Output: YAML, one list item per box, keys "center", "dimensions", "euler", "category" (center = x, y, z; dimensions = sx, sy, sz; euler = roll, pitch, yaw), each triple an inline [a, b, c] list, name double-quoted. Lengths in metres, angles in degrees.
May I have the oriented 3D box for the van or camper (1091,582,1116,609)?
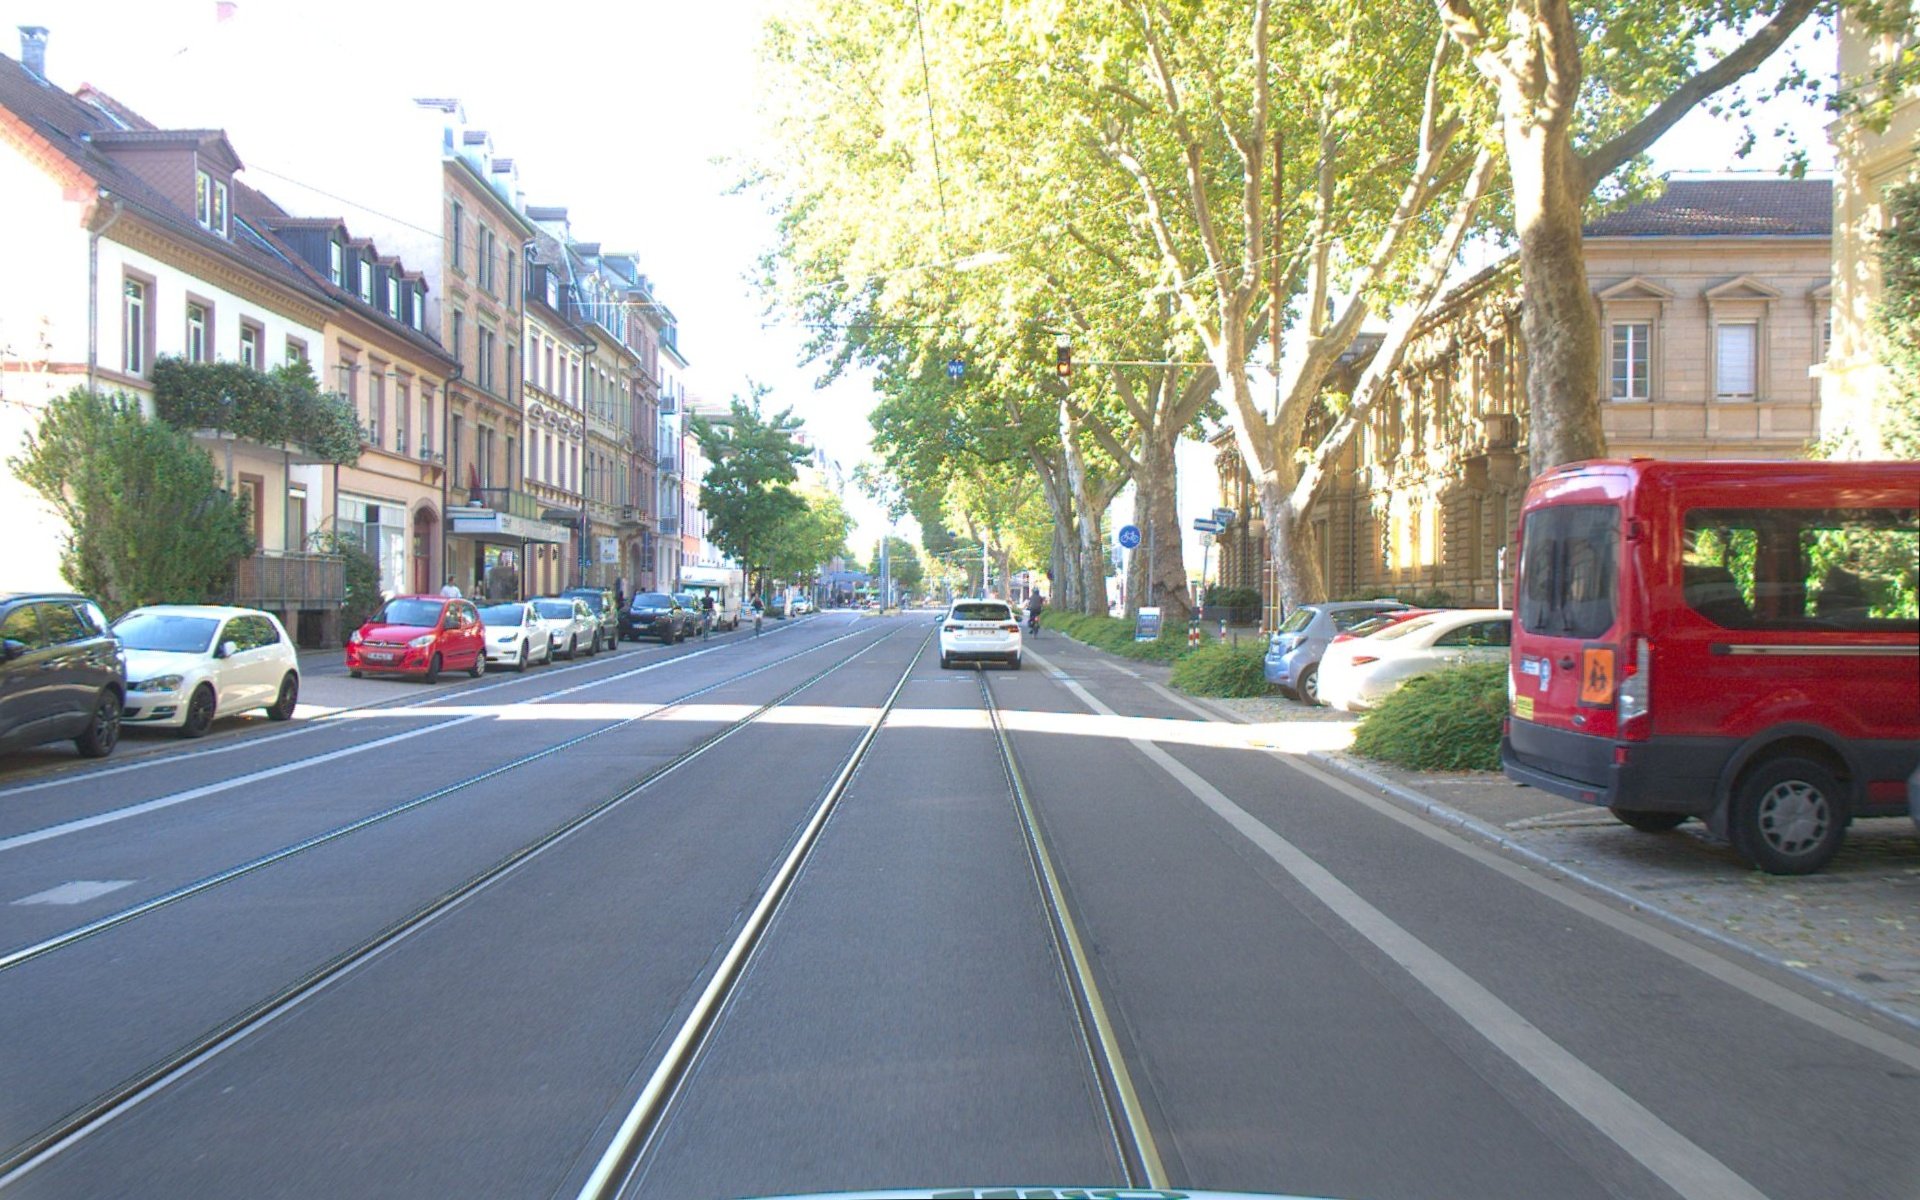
- center: [13.592, -0.418, 156.859]
  dimensions: [1.953, 2.384, 3.999]
  euler: [1, 0, -1]
  category: "van or camper"

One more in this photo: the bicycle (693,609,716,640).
- center: [-9.164, 0.866, 59.411]
  dimensions: [0.474, 1.065, 2.039]
  euler: [-2, 0, 1]
  category: "bicycle"

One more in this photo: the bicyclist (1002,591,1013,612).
- center: [3.725, 0.095, 129.646]
  dimensions: [0.720, 1.617, 0.587]
  euler: [0, 0, 11]
  category: "bicyclist"

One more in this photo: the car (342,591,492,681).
- center: [-10.114, 0.634, 31.039]
  dimensions: [1.536, 1.590, 3.450]
  euler: [0, 0, 3]
  category: "car"

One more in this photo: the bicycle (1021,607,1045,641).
- center: [2.644, 0.872, 60.210]
  dimensions: [0.666, 1.175, 2.963]
  euler: [1, 0, -1]
  category: "bicycle"

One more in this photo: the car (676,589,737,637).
- center: [-10.136, 0.495, 66.462]
  dimensions: [1.925, 1.812, 4.468]
  euler: [1, 0, -3]
  category: "car"

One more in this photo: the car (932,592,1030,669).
- center: [0.398, 0.614, 35.289]
  dimensions: [1.806, 1.506, 3.836]
  euler: [1, 0, -3]
  category: "car"

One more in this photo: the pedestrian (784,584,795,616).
- center: [-11.231, 0.001, 109.070]
  dimensions: [0.588, 2.037, 0.750]
  euler: [1, 0, 3]
  category: "pedestrian"

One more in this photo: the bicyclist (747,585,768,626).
- center: [-7.696, 0.193, 62.832]
  dimensions: [0.625, 1.529, 1.069]
  euler: [-1, 0, 0]
  category: "bicyclist"

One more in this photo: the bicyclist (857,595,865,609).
- center: [-10.919, 0.203, 182.803]
  dimensions: [0.626, 1.549, 0.602]
  euler: [-1, 1, -36]
  category: "bicyclist"

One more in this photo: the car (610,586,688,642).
- center: [-10.870, 0.466, 58.127]
  dimensions: [1.925, 1.812, 4.935]
  euler: [3, 0, -3]
  category: "car"

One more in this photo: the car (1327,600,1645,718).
- center: [6.983, 0.751, 22.129]
  dimensions: [3.680, 1.411, 1.679]
  euler: [-1, 0, -7]
  category: "car"

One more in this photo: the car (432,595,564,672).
- center: [-10.042, 0.690, 36.290]
  dimensions: [1.791, 1.529, 4.685]
  euler: [1, 0, -3]
  category: "car"

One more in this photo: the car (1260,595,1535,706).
- center: [6.519, 0.735, 24.904]
  dimensions: [3.675, 1.534, 1.681]
  euler: [1, 0, -1]
  category: "car"

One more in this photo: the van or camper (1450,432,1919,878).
- center: [6.479, 0.237, 11.002]
  dimensions: [5.700, 2.563, 2.286]
  euler: [-2, 1, -4]
  category: "van or camper"

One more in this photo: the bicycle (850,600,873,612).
- center: [-10.926, 0.632, 182.787]
  dimensions: [2.659, 1.351, 0.607]
  euler: [0, 0, -36]
  category: "bicycle"

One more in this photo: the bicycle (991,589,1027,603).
- center: [3.825, -0.292, 129.610]
  dimensions: [2.711, 1.017, 0.593]
  euler: [1, 0, 13]
  category: "bicycle"

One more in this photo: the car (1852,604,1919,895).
- center: [7.013, 0.787, 8.810]
  dimensions: [3.660, 1.556, 1.668]
  euler: [-1, 0, -4]
  category: "car"

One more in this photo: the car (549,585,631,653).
- center: [-10.201, 0.495, 45.855]
  dimensions: [1.524, 1.762, 3.684]
  euler: [1, 0, -2]
  category: "car"

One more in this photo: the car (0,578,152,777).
- center: [-9.386, 0.676, 15.447]
  dimensions: [1.821, 1.733, 4.653]
  euler: [0, 0, -6]
  category: "car"

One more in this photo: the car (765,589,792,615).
- center: [-12.651, 0.129, 115.214]
  dimensions: [1.608, 1.756, 3.782]
  euler: [1, 0, -3]
  category: "car"

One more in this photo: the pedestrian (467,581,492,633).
- center: [-13.879, 0.200, 47.772]
  dimensions: [0.625, 1.486, 0.654]
  euler: [2, 0, -17]
  category: "pedestrian"

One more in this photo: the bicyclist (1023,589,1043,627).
- center: [2.657, 0.295, 60.481]
  dimensions: [0.665, 1.362, 0.525]
  euler: [1, 0, -1]
  category: "bicyclist"

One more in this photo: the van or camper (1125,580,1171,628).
- center: [10.357, 0.206, 91.401]
  dimensions: [1.985, 2.507, 5.108]
  euler: [1, 0, 1]
  category: "van or camper"

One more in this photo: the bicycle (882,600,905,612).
- center: [-7.402, 0.691, 184.958]
  dimensions: [2.659, 1.351, 0.607]
  euler: [0, 0, -36]
  category: "bicycle"

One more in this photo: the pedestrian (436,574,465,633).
- center: [-14.618, 0.095, 47.458]
  dimensions: [0.759, 1.662, 0.654]
  euler: [2, 0, -17]
  category: "pedestrian"

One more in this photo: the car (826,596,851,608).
- center: [-19.049, 0.331, 259.878]
  dimensions: [3.713, 1.850, 1.804]
  euler: [1, 0, 5]
  category: "car"

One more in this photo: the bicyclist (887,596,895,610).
- center: [-7.710, 0.370, 184.747]
  dimensions: [0.626, 1.549, 0.602]
  euler: [-1, 1, -36]
  category: "bicyclist"

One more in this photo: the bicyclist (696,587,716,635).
- center: [-9.118, 0.392, 59.455]
  dimensions: [0.524, 1.663, 0.896]
  euler: [-2, 0, 0]
  category: "bicyclist"

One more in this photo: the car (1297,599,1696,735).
- center: [6.323, 0.769, 19.824]
  dimensions: [4.198, 1.442, 1.760]
  euler: [-1, 0, 0]
  category: "car"

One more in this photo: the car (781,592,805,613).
- center: [-14.096, 0.187, 139.394]
  dimensions: [1.758, 1.756, 3.782]
  euler: [1, 0, -3]
  category: "car"

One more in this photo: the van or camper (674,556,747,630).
- center: [-11.398, -0.323, 76.135]
  dimensions: [2.171, 3.195, 7.113]
  euler: [1, 0, 0]
  category: "van or camper"

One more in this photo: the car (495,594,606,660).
- center: [-10.228, 0.645, 41.647]
  dimensions: [1.790, 1.529, 4.448]
  euler: [1, 0, -2]
  category: "car"

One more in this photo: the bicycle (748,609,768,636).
- center: [-7.679, 0.845, 62.912]
  dimensions: [0.488, 0.959, 1.921]
  euler: [-2, 0, 1]
  category: "bicycle"

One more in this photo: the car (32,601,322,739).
- center: [-9.639, 0.791, 20.764]
  dimensions: [1.652, 1.502, 4.257]
  euler: [2, 0, -1]
  category: "car"
